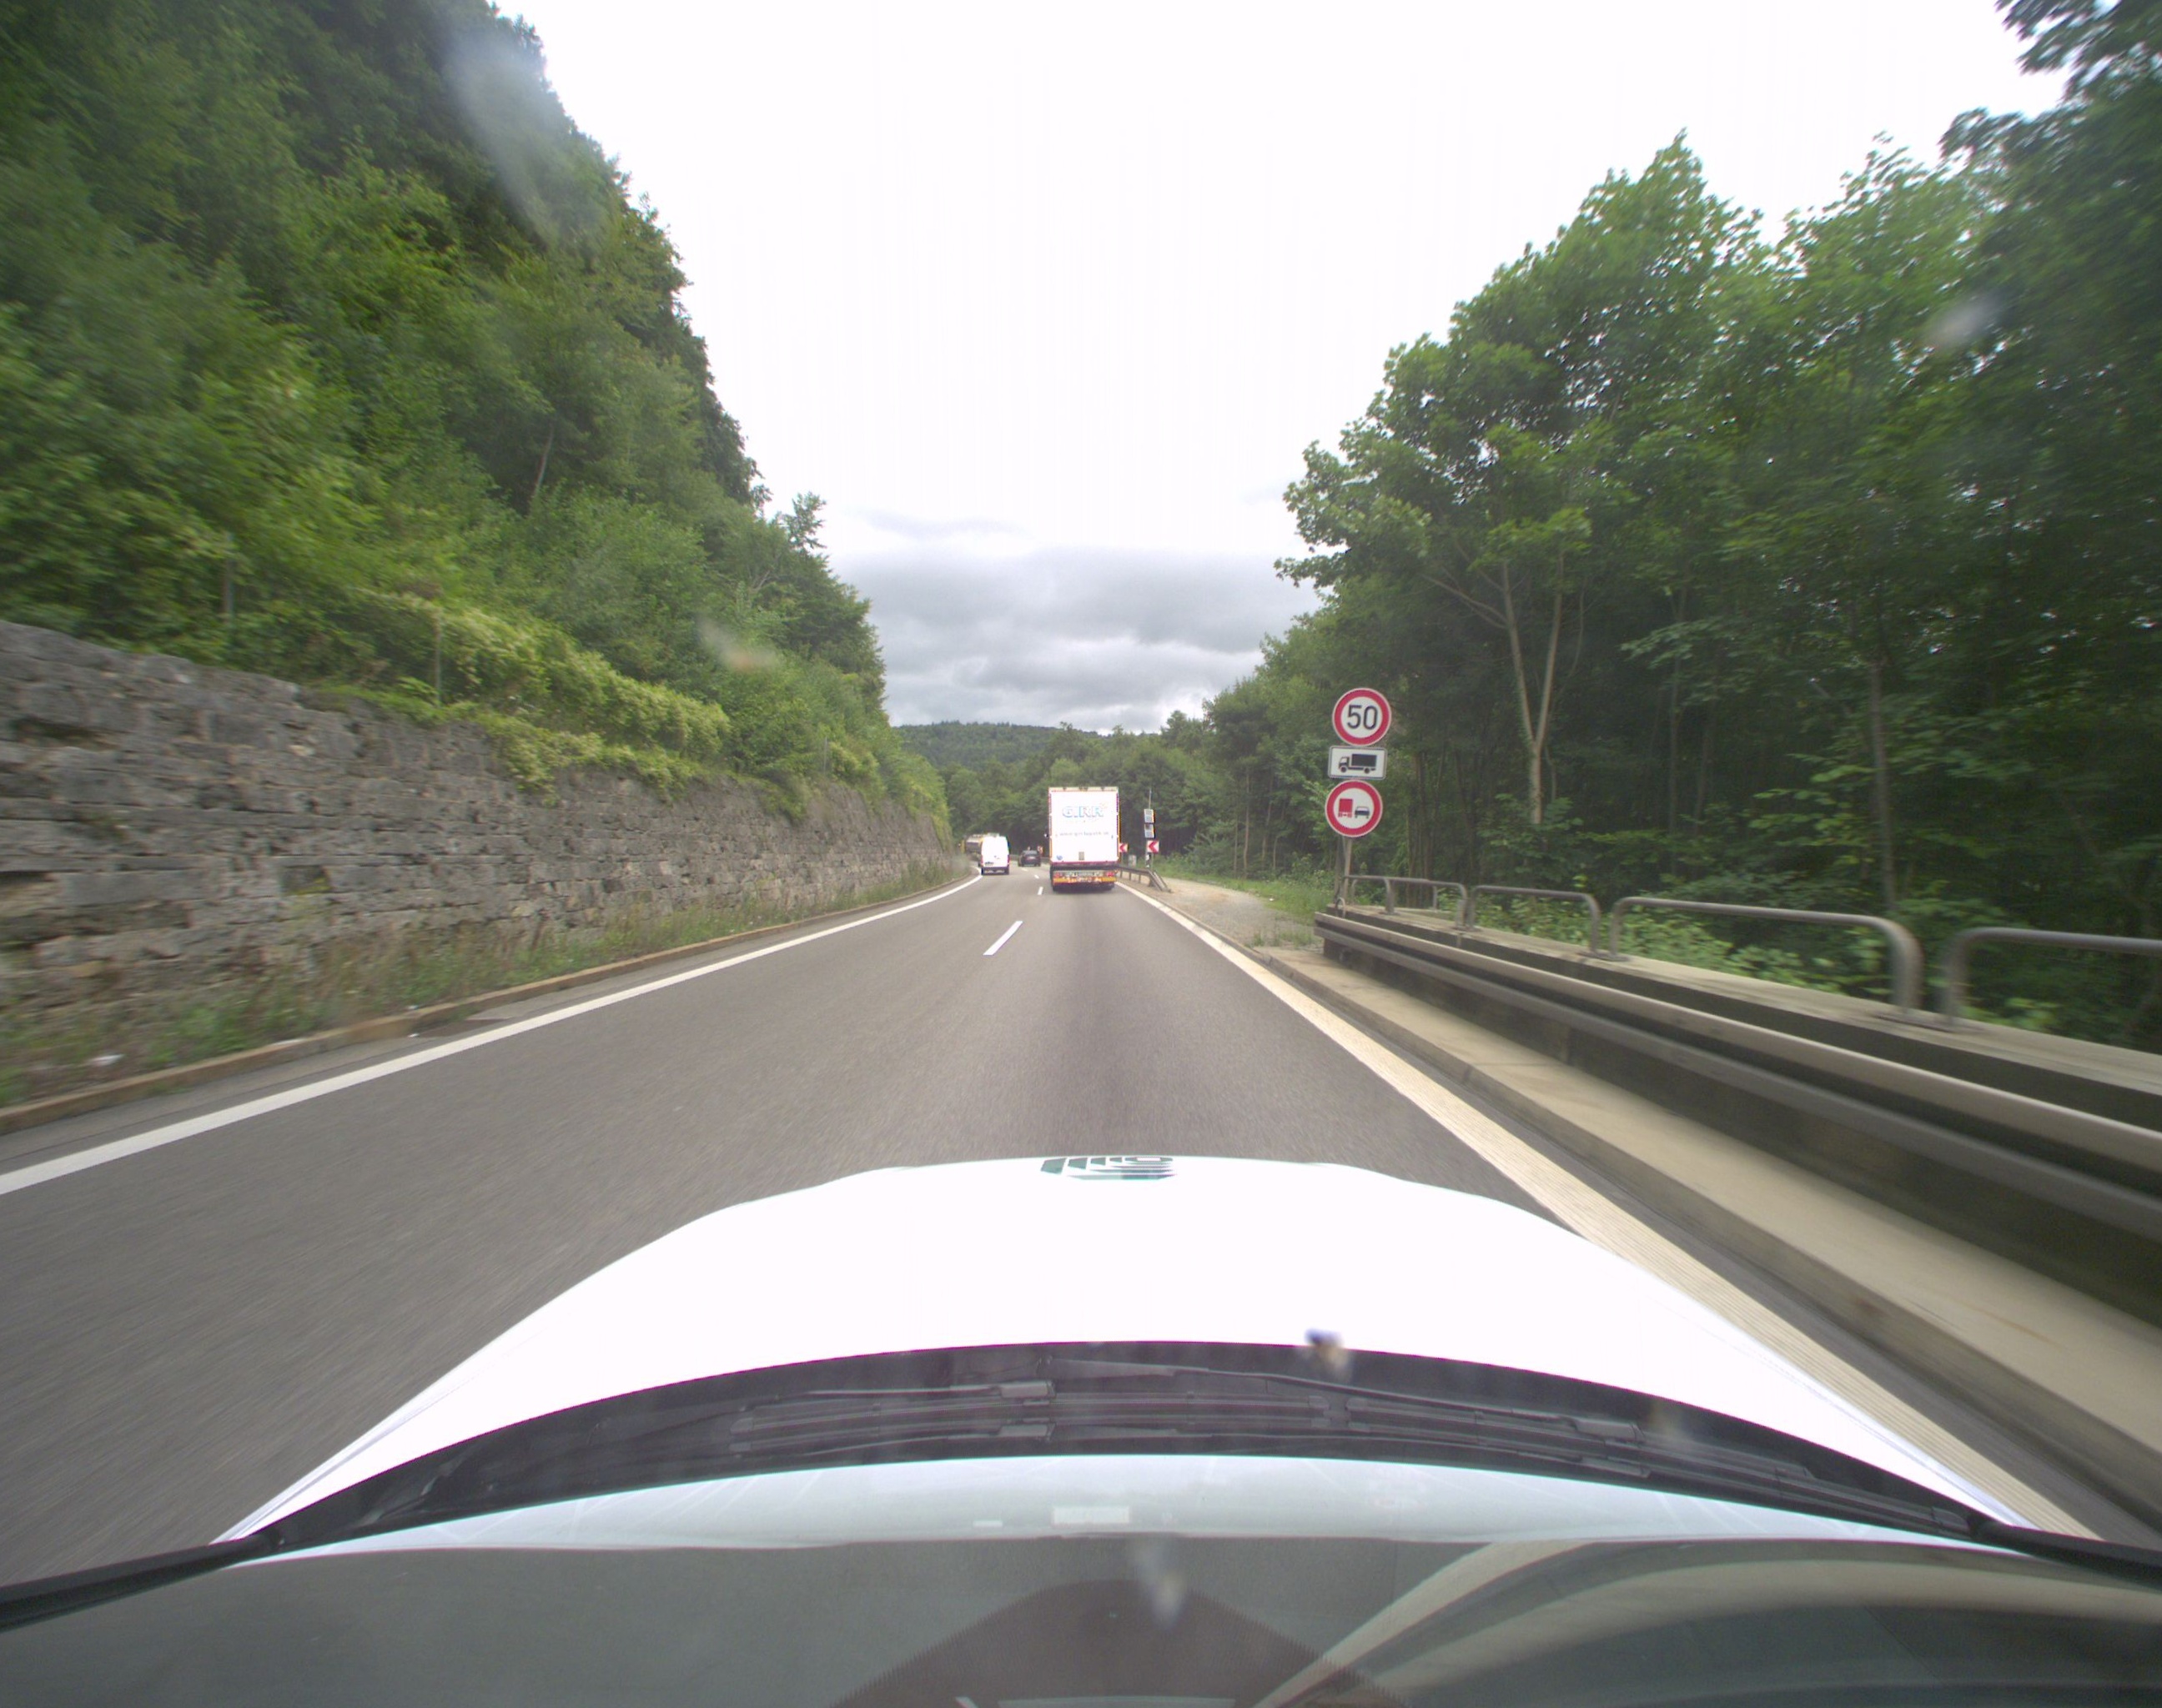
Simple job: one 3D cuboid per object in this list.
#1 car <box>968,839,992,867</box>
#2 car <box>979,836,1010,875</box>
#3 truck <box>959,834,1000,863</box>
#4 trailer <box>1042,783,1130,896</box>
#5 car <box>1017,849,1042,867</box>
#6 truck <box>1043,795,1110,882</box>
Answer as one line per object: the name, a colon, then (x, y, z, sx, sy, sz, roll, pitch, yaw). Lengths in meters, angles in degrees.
car: (-10.116, -0.089, 81.339, 1.940, 2.672, 5.969, 1, 0, -11)
car: (-6.259, 0.083, 58.965, 1.986, 2.672, 6.921, 1, 0, -6)
truck: (-14.965, -0.840, 118.869, 3.067, 3.986, 13.611, -2, 1, -19)
trailer: (-0.065, -0.680, 35.500, 3.050, 3.985, 12.127, 2, 1, -2)
car: (-5.156, 0.352, 80.775, 1.994, 1.662, 3.986, 1, 0, -10)
truck: (-0.341, -0.831, 41.900, 3.050, 3.985, 7.181, 2, 1, -2)
